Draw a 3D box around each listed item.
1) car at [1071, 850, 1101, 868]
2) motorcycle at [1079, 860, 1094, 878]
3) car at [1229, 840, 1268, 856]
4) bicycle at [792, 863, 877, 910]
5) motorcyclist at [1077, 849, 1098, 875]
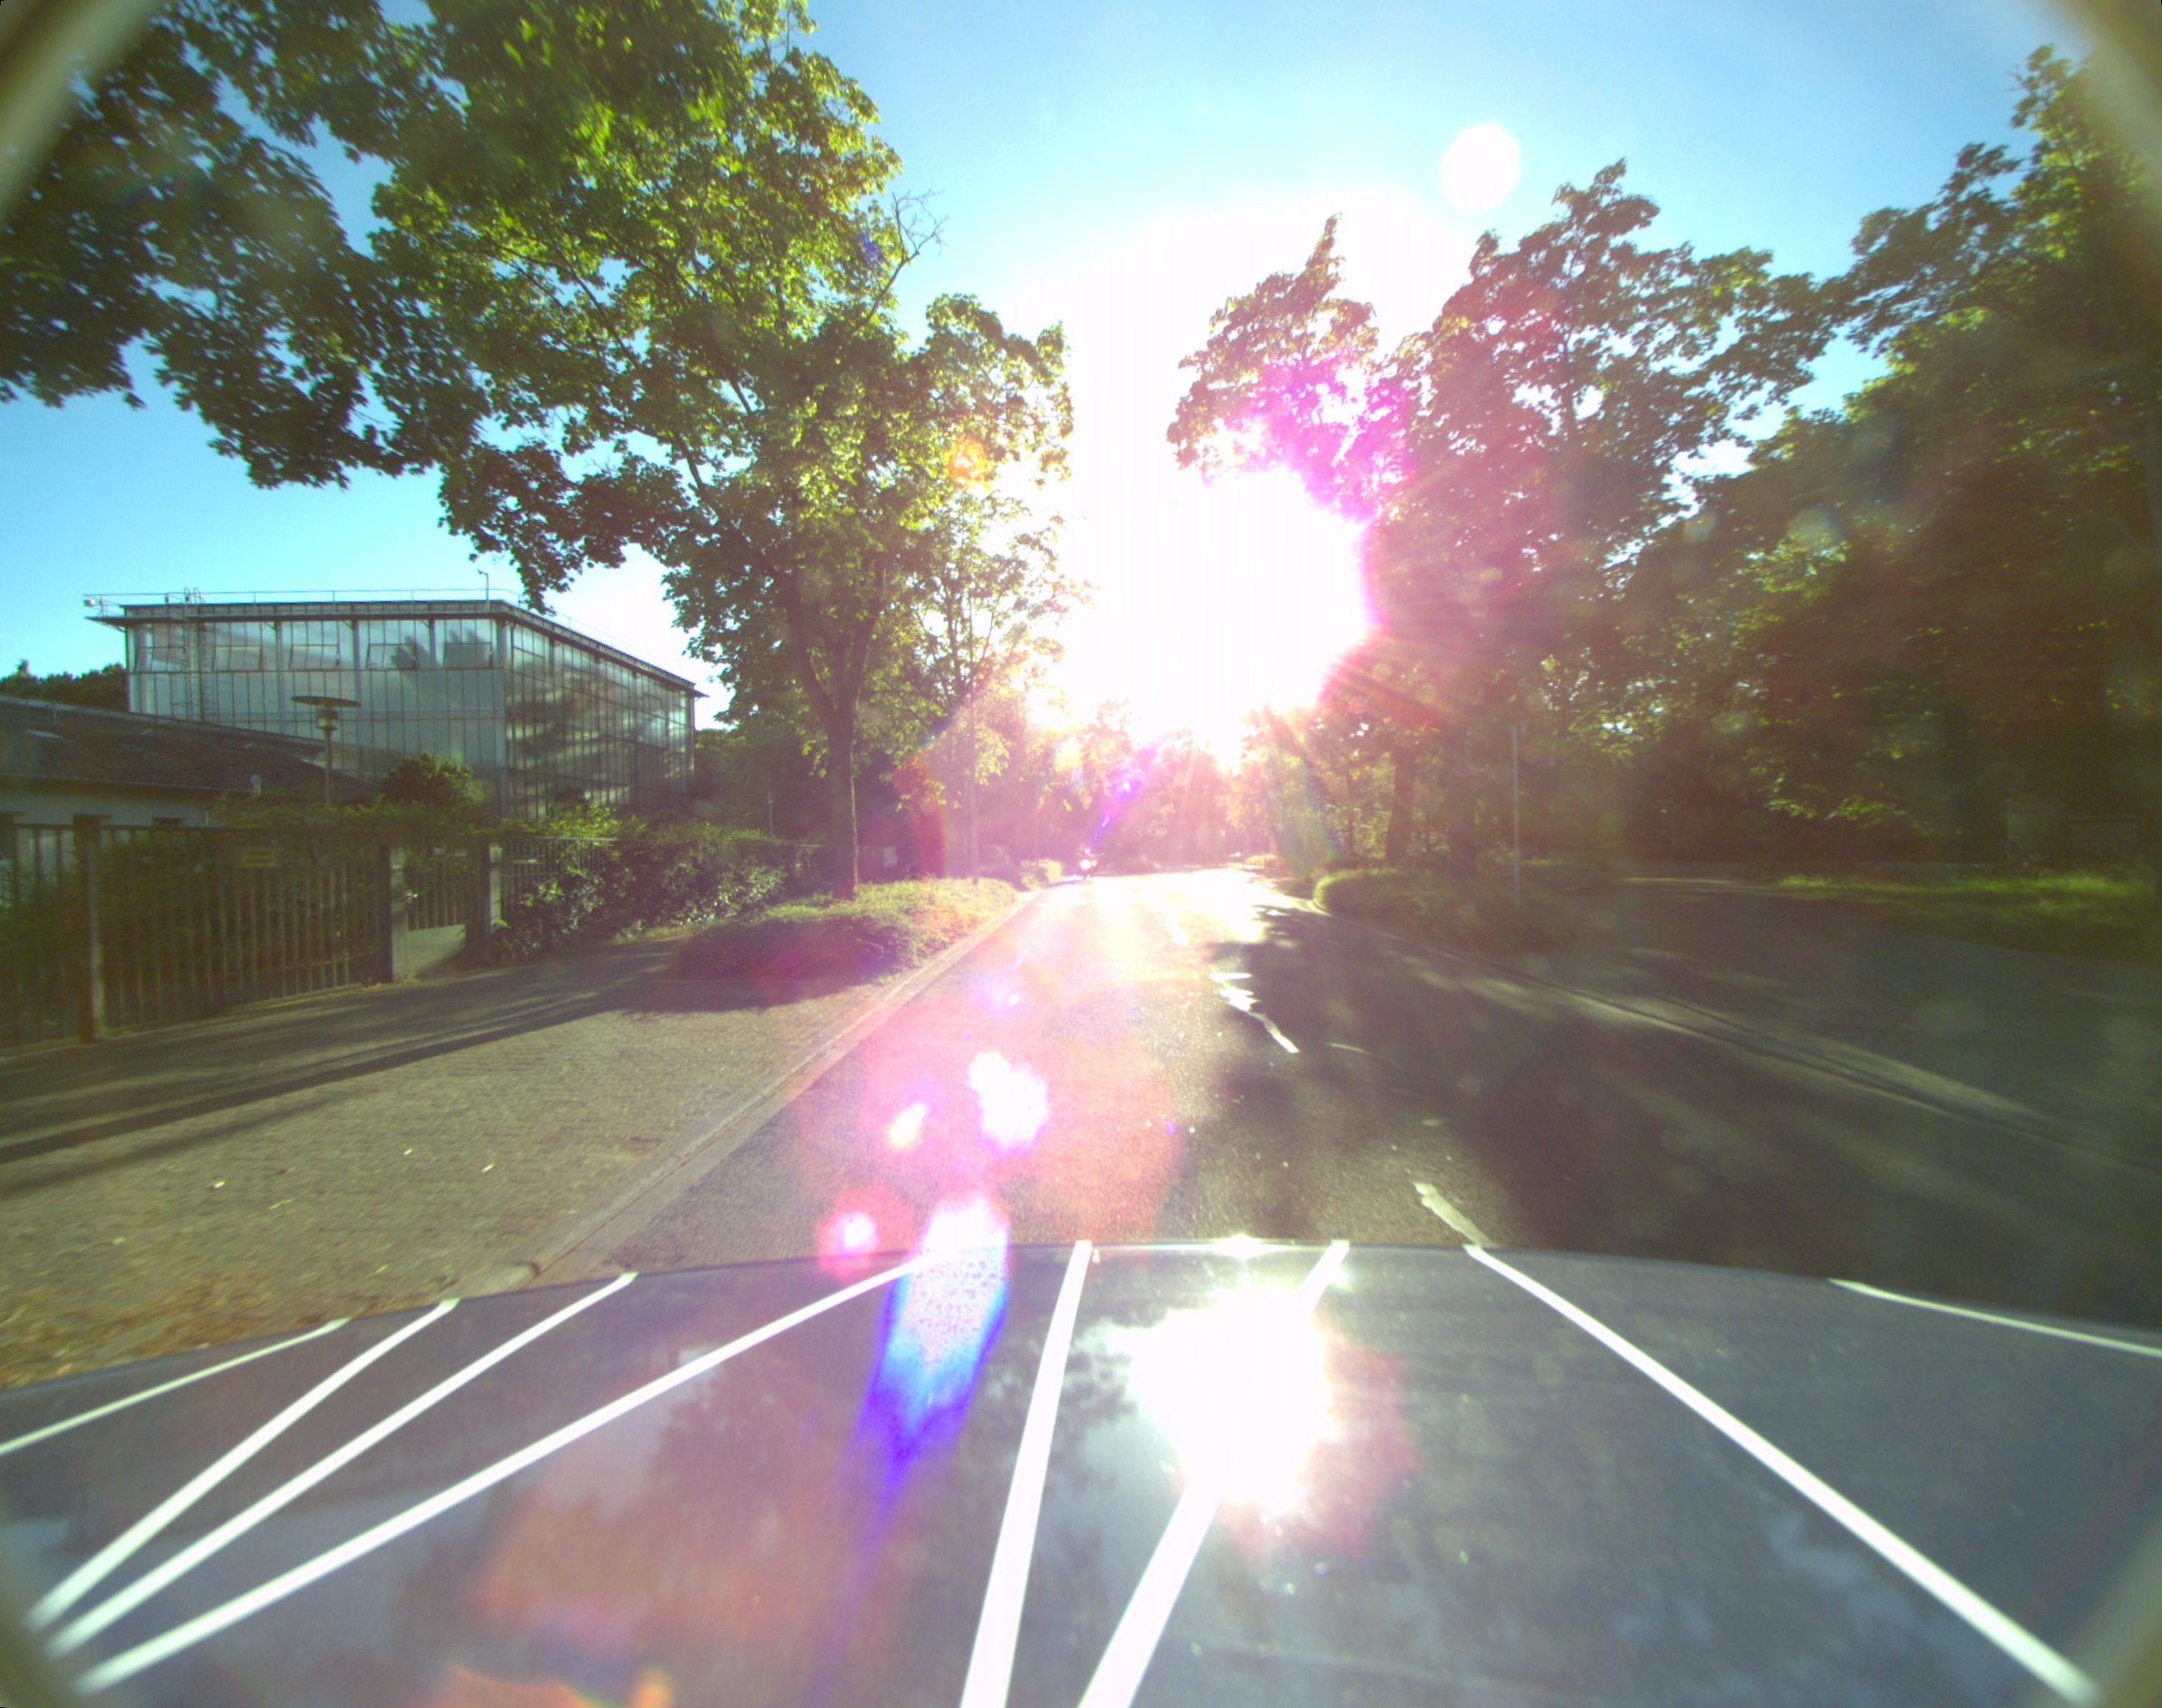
[{"bbox_3d":[0.400,0.366,62.907,1.999,1.365,4.171,-3,0,-6],"label":"car"},{"bbox_3d":[0.324,0.869,44.572,0.807,0.907,2.712,-3,1,1],"label":"motorcycle"},{"bbox_3d":[20.684,-0.714,93.844,4.366,1.750,1.572,-3,1,0],"label":"car"},{"bbox_3d":[-6.814,0.860,21.145,0.884,1.193,2.330,1,1,25],"label":"bicycle"},{"bbox_3d":[0.370,0.450,44.616,1.138,1.419,1.566,-3,1,1],"label":"motorcyclist"}]
